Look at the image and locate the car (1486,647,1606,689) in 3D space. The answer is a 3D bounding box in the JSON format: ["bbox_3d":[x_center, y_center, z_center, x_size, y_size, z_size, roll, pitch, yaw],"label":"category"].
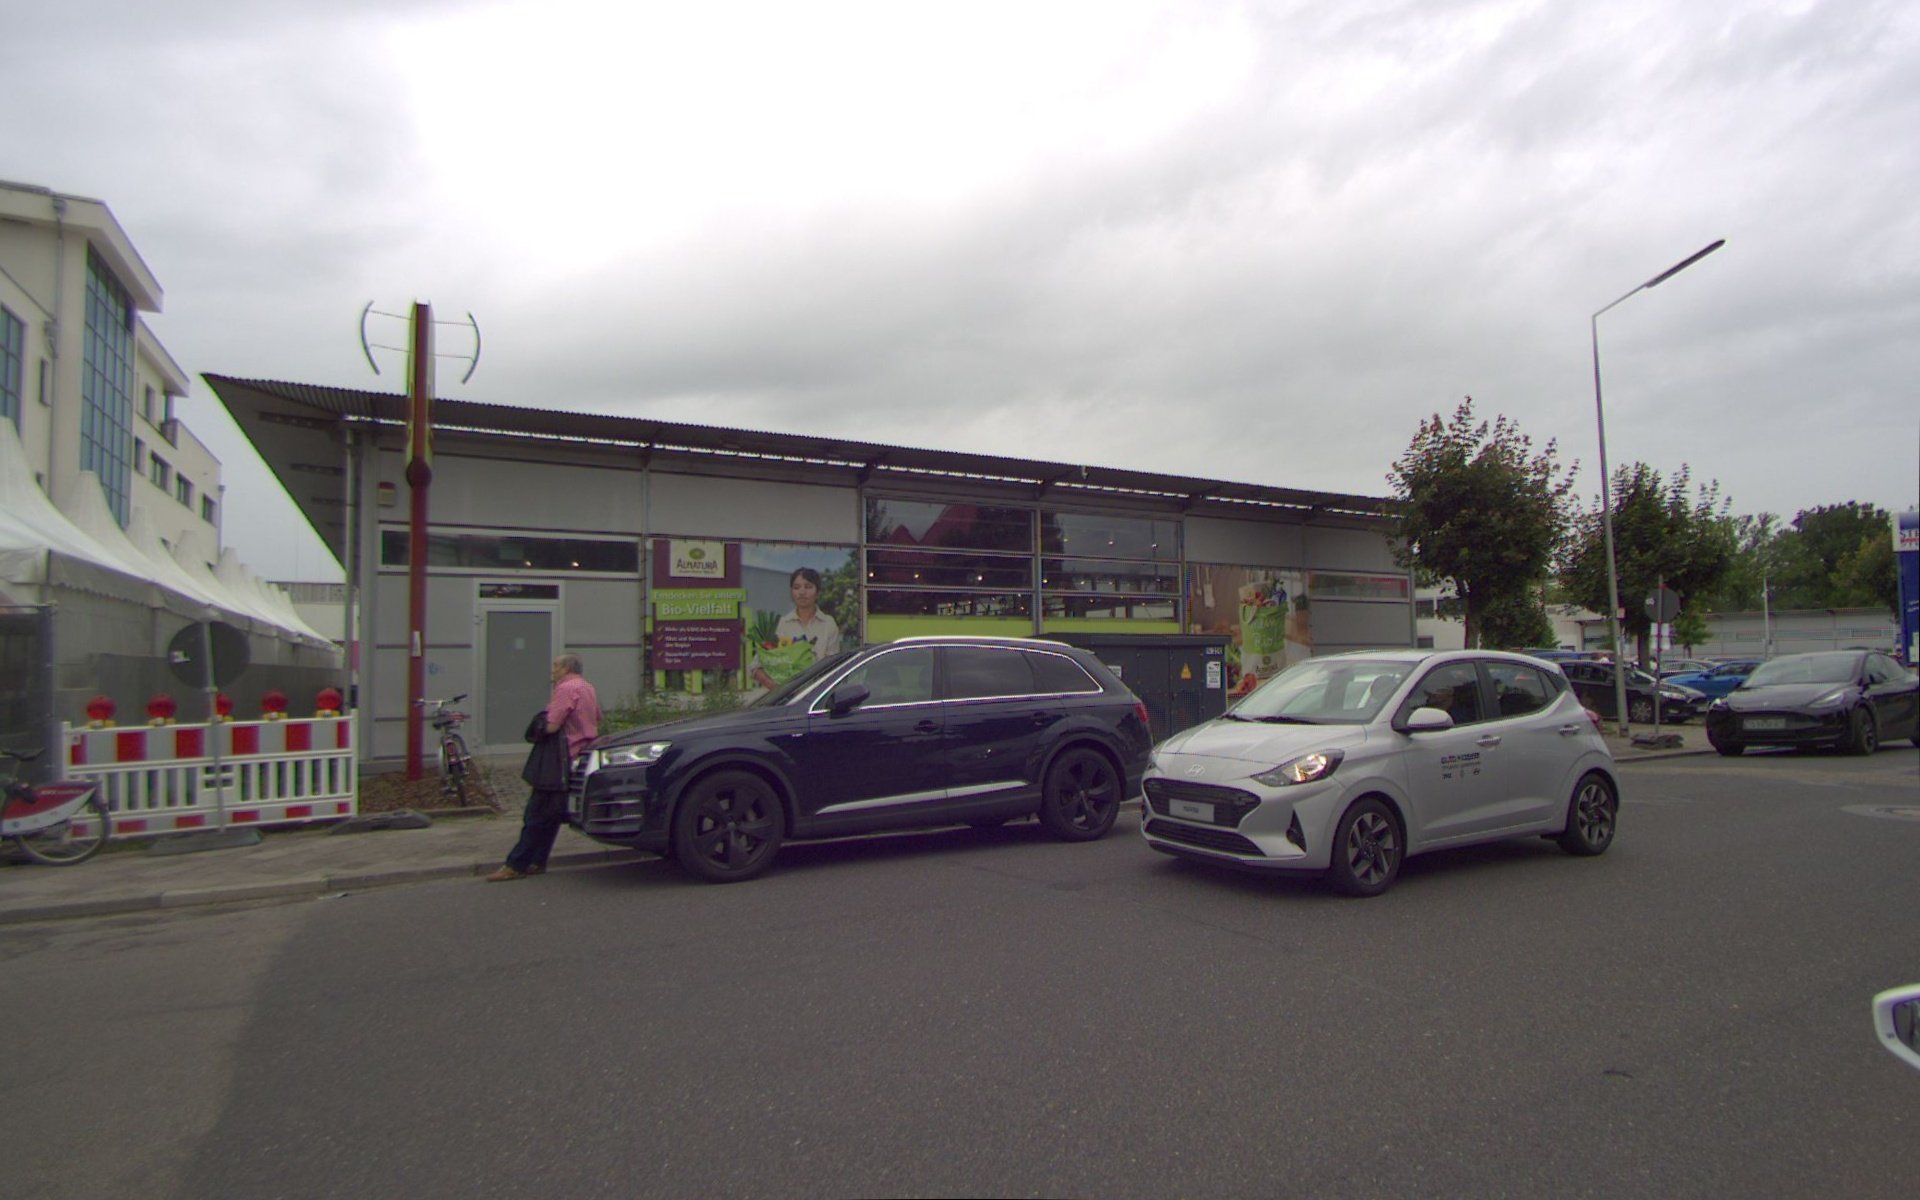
[{"bbox_3d":[24.660,2.860,42.430,1.853,1.690,3.972,1,-4,-28],"label":"car"}]

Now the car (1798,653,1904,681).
[{"bbox_3d":[49.102,3.685,55.439,1.763,1.511,3.973,1,-4,-27],"label":"car"}]

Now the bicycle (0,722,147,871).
[{"bbox_3d":[-7.636,1.526,7.838,1.874,1.091,0.543,2,-4,-23],"label":"bicycle"}]

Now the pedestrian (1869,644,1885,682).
[{"bbox_3d":[38.211,2.620,41.845,0.500,1.590,0.356,2,-4,-40],"label":"pedestrian"}]

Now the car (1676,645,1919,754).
[{"bbox_3d":[13.811,1.600,16.230,4.352,1.545,1.939,2,-8,-31],"label":"car"}]

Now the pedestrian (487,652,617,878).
[{"bbox_3d":[-3.160,1.265,7.819,0.641,1.641,0.675,-5,-7,25],"label":"pedestrian"}]

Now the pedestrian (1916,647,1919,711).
[{"bbox_3d":[26.695,2.161,27.364,0.689,1.737,0.771,2,-3,-33],"label":"pedestrian"}]

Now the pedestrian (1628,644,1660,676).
[{"bbox_3d":[44.633,3.898,65.558,1.361,2.039,1.211,-2,-4,21],"label":"pedestrian"}]

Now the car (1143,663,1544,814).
[{"bbox_3d":[4.385,1.491,11.335,4.464,1.384,1.693,2,-9,-30],"label":"car"}]

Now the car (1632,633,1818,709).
[{"bbox_3d":[22.206,2.081,29.291,1.744,2.039,3.905,2,-5,-35],"label":"car"}]

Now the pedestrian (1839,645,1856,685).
[{"bbox_3d":[37.764,2.764,42.739,0.450,1.663,0.372,-4,-4,44],"label":"pedestrian"}]

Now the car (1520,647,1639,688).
[{"bbox_3d":[26.765,2.939,43.548,1.853,1.690,3.972,1,-4,-28],"label":"car"}]

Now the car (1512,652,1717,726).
[{"bbox_3d":[16.236,2.136,25.113,1.904,1.641,3.859,1,-3,-28],"label":"car"}]

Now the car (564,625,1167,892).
[{"bbox_3d":[-0.727,1.180,8.440,4.670,1.712,1.860,1,-7,-28],"label":"car"}]

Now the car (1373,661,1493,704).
[{"bbox_3d":[17.600,3.092,37.568,3.924,1.504,1.876,-3,-5,24],"label":"car"}]

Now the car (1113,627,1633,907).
[{"bbox_3d":[2.985,1.059,7.184,3.486,1.547,1.592,2,-6,-30],"label":"car"}]

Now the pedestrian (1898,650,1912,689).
[{"bbox_3d":[38.283,2.811,40.688,0.500,1.590,0.327,2,-3,-40],"label":"pedestrian"}]

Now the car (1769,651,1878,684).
[{"bbox_3d":[45.911,3.584,53.490,1.853,1.690,3.972,1,-4,-28],"label":"car"}]
